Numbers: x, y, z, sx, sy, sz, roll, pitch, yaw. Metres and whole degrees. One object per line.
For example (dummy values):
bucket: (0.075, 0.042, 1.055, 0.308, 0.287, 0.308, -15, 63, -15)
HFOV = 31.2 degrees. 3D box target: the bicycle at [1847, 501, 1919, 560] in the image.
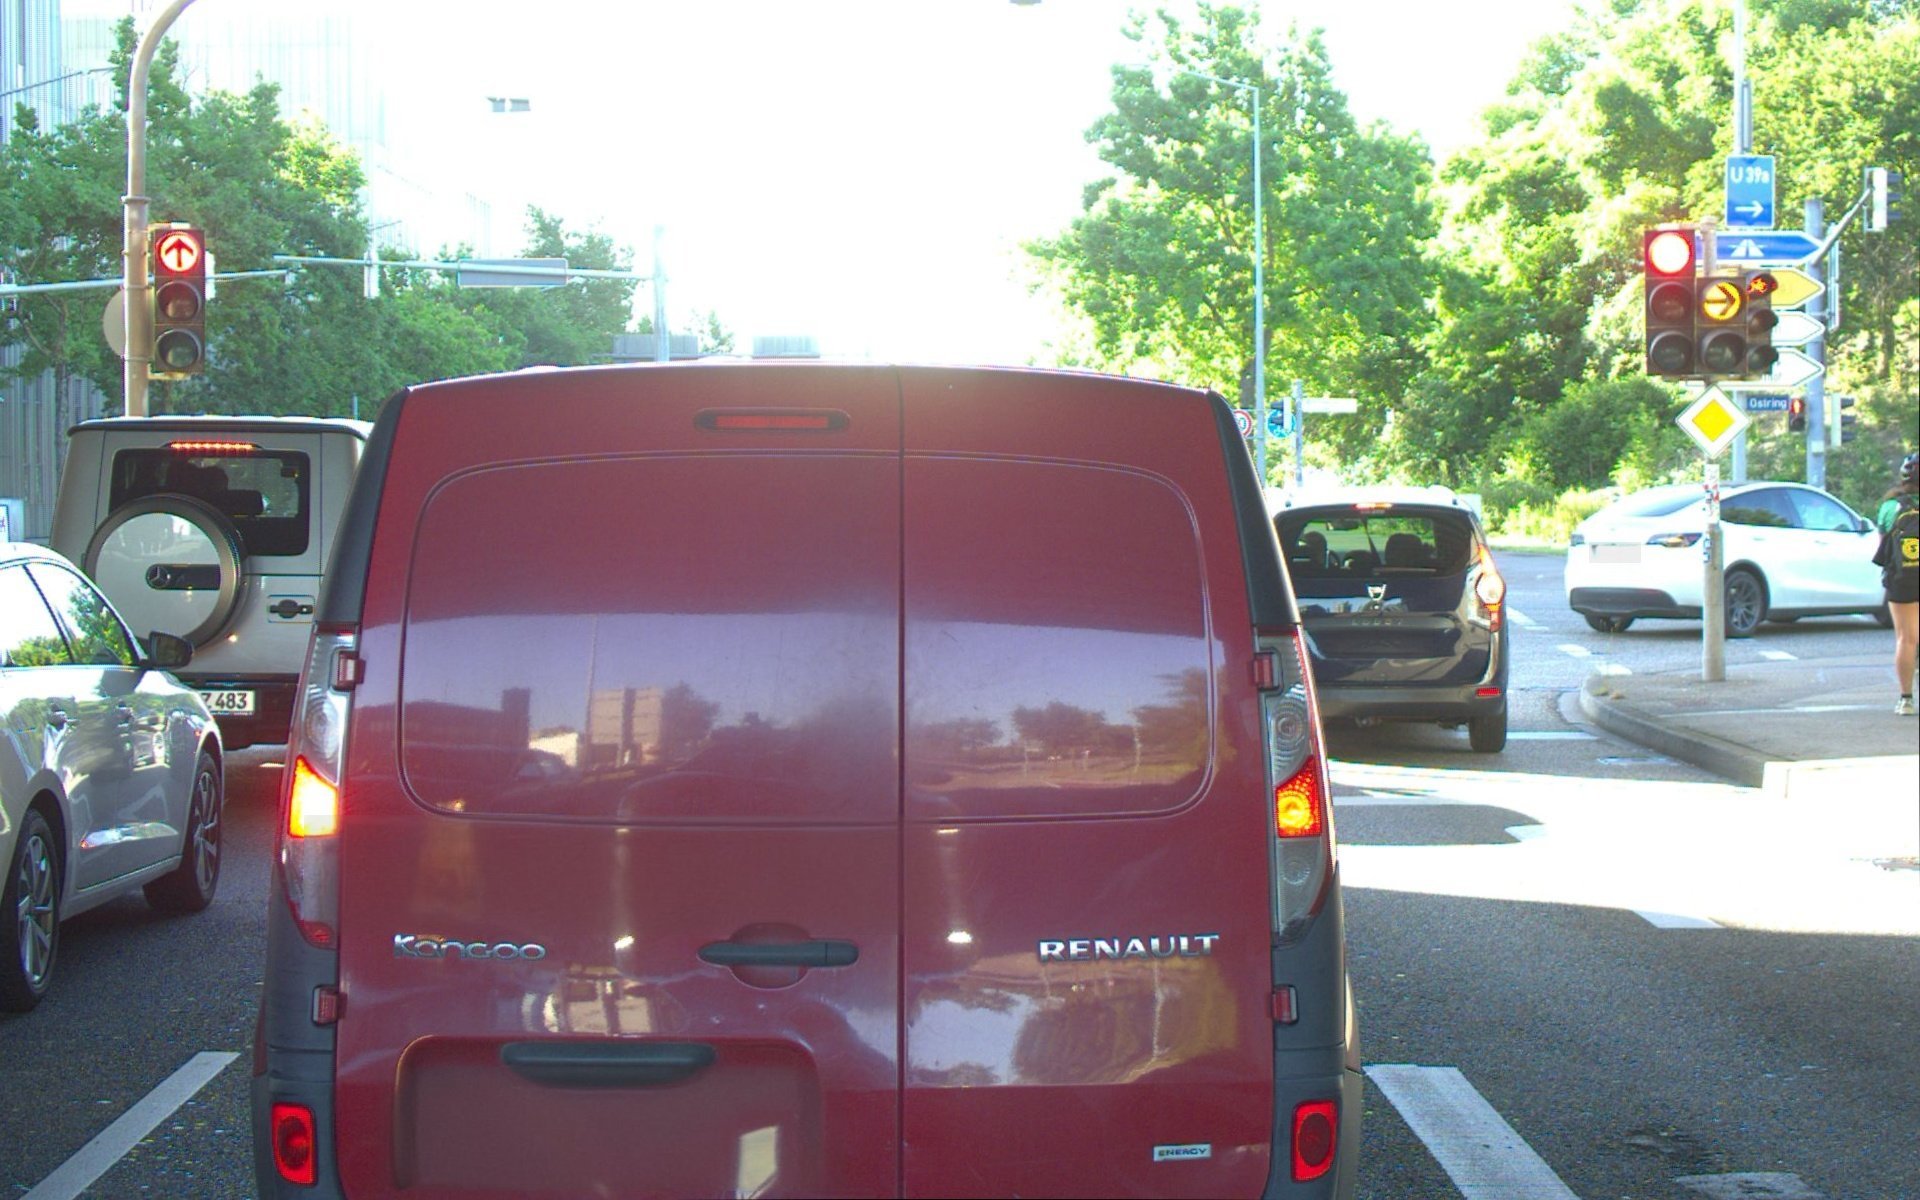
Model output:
bicycle: (16.659, -1.227, 60.917, 1.745, 1.020, 0.593, 1, 0, 9)

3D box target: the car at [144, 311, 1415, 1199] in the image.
car: (-0.284, 0.473, 6.928, 1.805, 1.788, 4.000, 1, 1, -1)

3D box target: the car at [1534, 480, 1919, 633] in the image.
car: (8.219, -0.474, 36.657, 4.181, 1.538, 1.886, -1, 1, -41)

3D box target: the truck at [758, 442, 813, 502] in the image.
truck: (-9.155, -6.724, 181.191, 2.409, 3.016, 6.657, -2, 2, 0)

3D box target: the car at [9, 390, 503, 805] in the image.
car: (-3.709, -0.034, 18.910, 1.801, 1.982, 4.589, 1, 1, -1)

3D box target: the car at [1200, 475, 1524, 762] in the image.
car: (2.518, 0.074, 22.358, 1.719, 1.700, 3.982, 0, 1, 1)

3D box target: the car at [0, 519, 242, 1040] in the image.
car: (-3.650, 0.466, 11.411, 1.813, 1.433, 3.731, 0, 2, -1)

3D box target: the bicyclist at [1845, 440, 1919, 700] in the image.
bicyclist: (6.036, -0.190, 21.757, 0.591, 1.608, 0.942, 1, 0, -1)

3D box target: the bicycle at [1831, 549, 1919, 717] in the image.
bicycle: (6.046, 0.194, 21.766, 0.591, 1.020, 1.750, 1, 1, -1)

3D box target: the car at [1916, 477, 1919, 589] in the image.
car: (15.097, -0.857, 45.302, 4.549, 1.509, 1.827, 1, 0, 7)

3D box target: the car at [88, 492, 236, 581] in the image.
car: (-16.573, -1.344, 71.627, 1.825, 1.731, 4.629, -2, 2, 1)
